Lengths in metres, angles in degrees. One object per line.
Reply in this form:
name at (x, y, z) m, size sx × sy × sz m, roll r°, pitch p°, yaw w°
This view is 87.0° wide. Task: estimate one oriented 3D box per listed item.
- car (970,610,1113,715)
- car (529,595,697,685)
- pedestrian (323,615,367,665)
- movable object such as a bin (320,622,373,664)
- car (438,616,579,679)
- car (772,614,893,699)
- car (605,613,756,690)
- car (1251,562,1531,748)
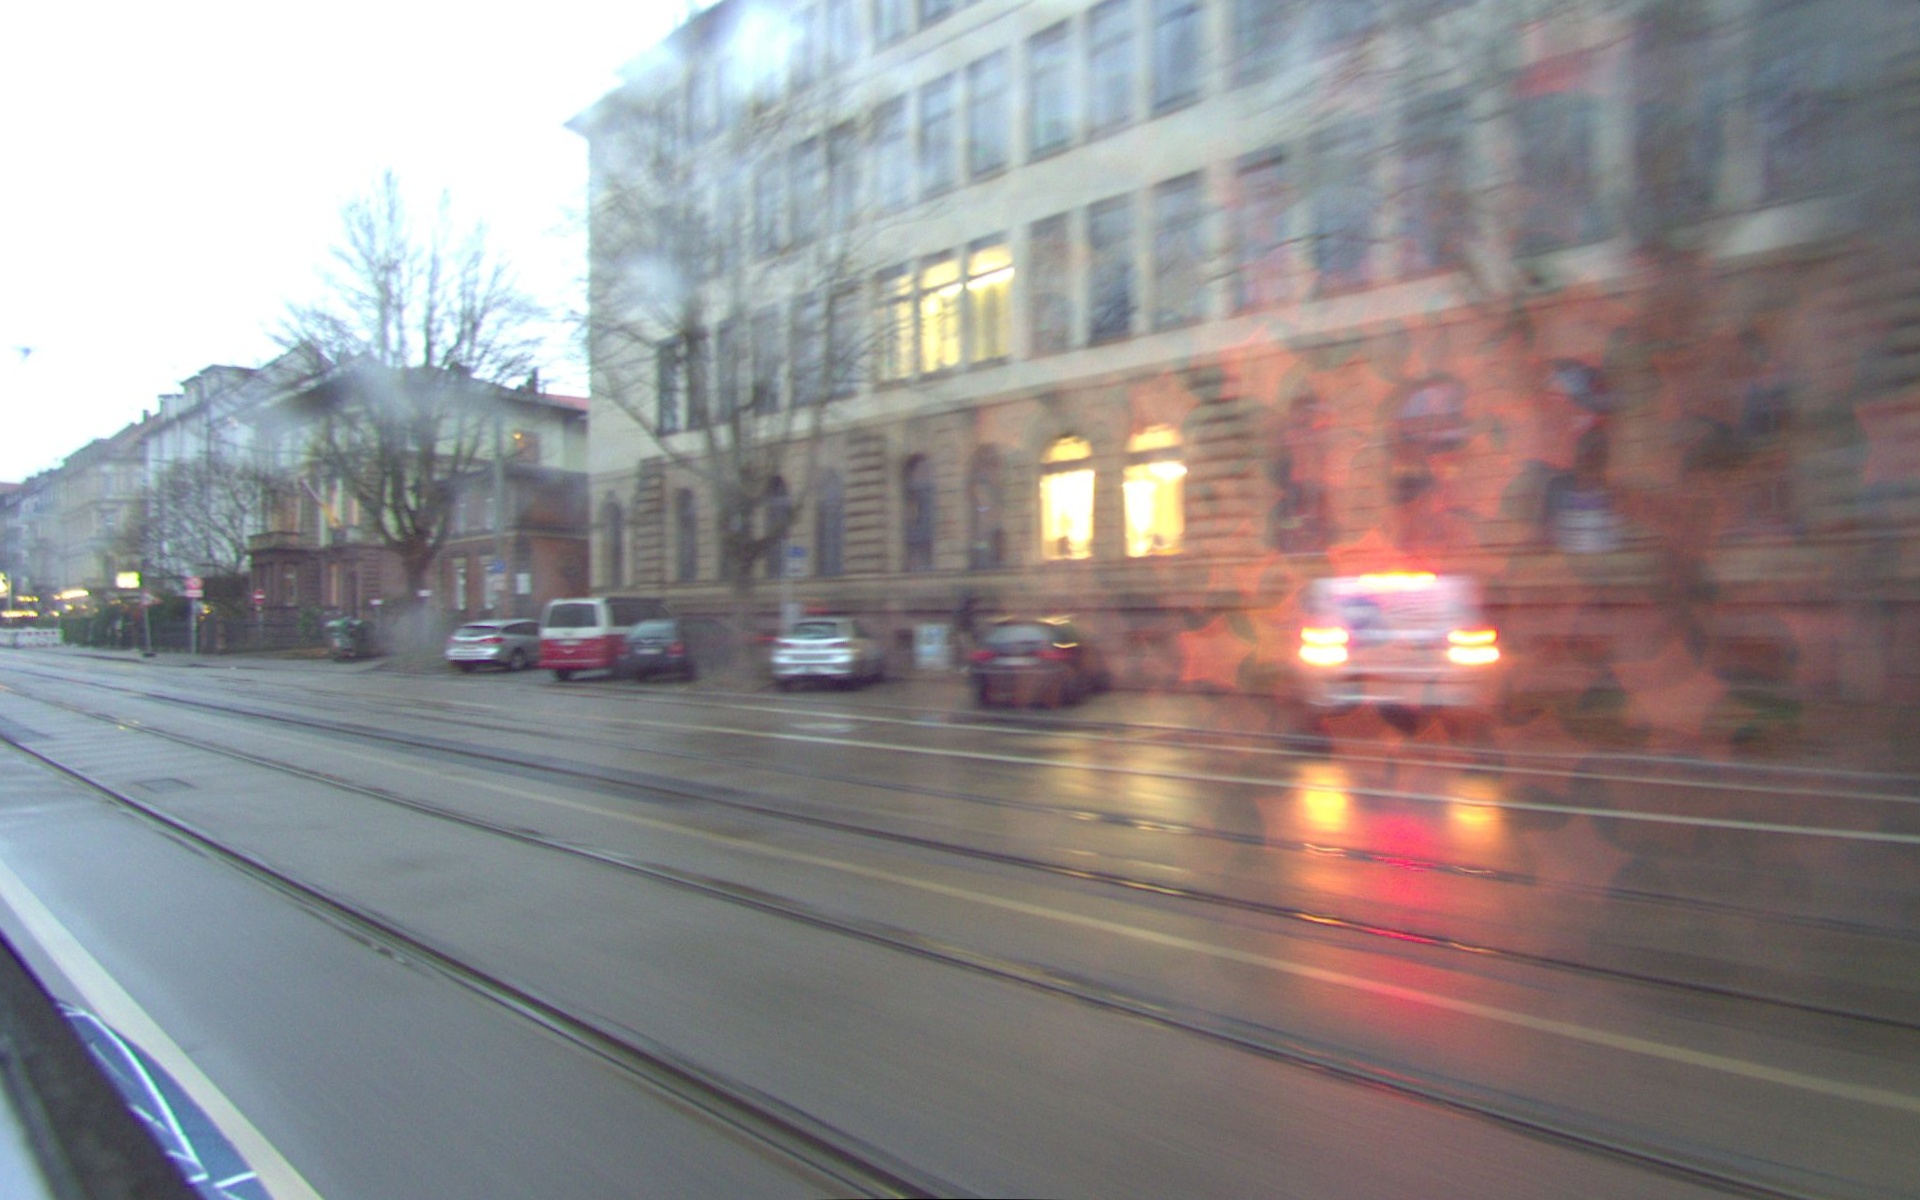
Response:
car at (1.551, 0.984, 17.558) m, size 1.782 × 1.468 × 4.458 m, roll -1°, pitch 0°, yaw 13°
car at (-8.771, 0.937, 26.084) m, size 1.946 × 2.069 × 4.604 m, roll -1°, pitch 0°, yaw 13°
pedestrian at (-21.769, 1.399, 35.854) m, size 0.940 × 1.716 × 0.918 m, roll -1°, pitch 0°, yaw 18°
movable object such as a bin at (-22.413, 1.564, 37.001) m, size 1.326 × 1.475 × 0.985 m, roll -1°, pitch 0°, yaw 3°
car at (-13.228, 1.345, 29.950) m, size 1.756 × 1.603 × 4.171 m, roll -1°, pitch 0°, yaw 11°
car at (-2.546, 1.098, 20.999) m, size 1.617 × 1.468 × 3.819 m, roll -1°, pitch 0°, yaw 6°
car at (-6.513, 1.157, 24.036) m, size 1.805 × 1.551 × 3.961 m, roll -1°, pitch 0°, yaw 12°
car at (5.526, 0.605, 13.784) m, size 1.887 × 2.049 × 4.800 m, roll -1°, pitch 0°, yaw 3°
